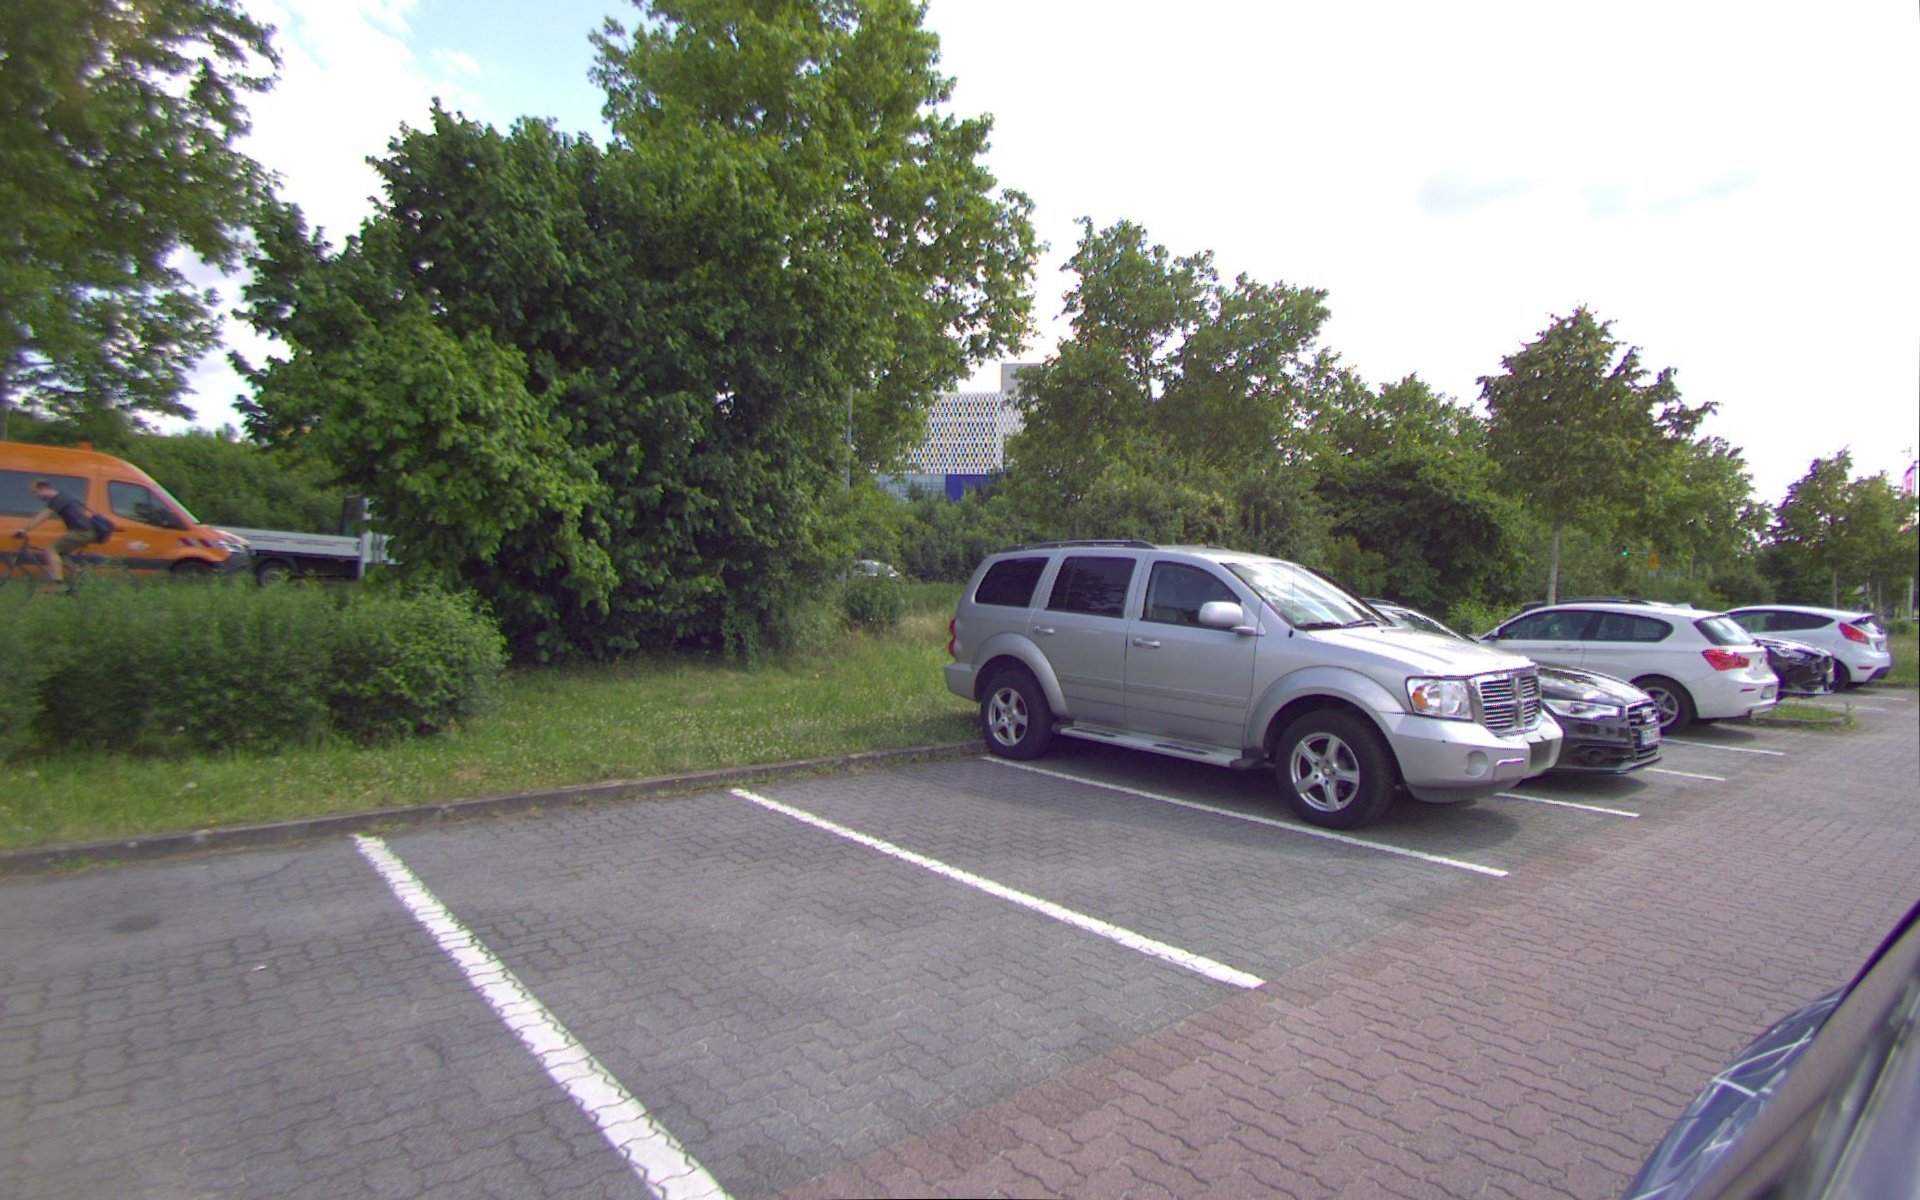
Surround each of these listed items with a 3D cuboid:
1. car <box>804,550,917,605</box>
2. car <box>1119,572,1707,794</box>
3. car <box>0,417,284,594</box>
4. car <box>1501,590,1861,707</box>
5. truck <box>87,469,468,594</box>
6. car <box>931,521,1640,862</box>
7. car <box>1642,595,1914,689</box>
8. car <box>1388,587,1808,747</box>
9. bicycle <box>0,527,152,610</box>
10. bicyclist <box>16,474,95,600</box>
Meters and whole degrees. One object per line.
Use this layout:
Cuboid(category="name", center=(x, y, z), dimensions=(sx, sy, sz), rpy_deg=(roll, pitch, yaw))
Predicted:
Cuboid(category="car", center=(-3.855, -0.856, 39.547), dimensions=(3.929, 2.038, 1.998), rpy_deg=(0, 2, -41))
Cuboid(category="car", center=(3.917, 0.542, 9.532), dimensions=(1.807, 1.469, 4.719), rpy_deg=(1, 2, -41))
Cuboid(category="car", center=(-16.249, -1.598, 17.946), dimensions=(6.868, 2.921, 1.997), rpy_deg=(-2, 1, -41))
Cuboid(category="car", center=(10.985, 0.638, 15.681), dimensions=(1.703, 1.428, 4.238), rpy_deg=(1, 2, -40))
Cuboid(category="truck", center=(-15.049, -1.384, 22.739), dimensions=(6.870, 2.372, 1.997), rpy_deg=(1, 2, -43))
Cuboid(category="car", center=(2.152, 0.401, 8.138), dimensions=(1.955, 1.865, 5.142), rpy_deg=(1, 2, -40))
Cuboid(category="car", center=(14.894, 0.689, 18.583), dimensions=(1.638, 1.429, 3.558), rpy_deg=(1, 2, -36))
Cuboid(category="car", center=(7.706, 0.673, 12.597), dimensions=(1.659, 1.528, 4.081), rpy_deg=(0, 2, -37))
Cuboid(category="bicycle", center=(-11.920, -0.405, 13.448), dimensions=(1.838, 1.051, 0.527), rpy_deg=(0, 0, -41))
Cuboid(category="bicyclist", center=(-11.956, -0.803, 13.399), dimensions=(0.749, 1.612, 0.635), rpy_deg=(0, -1, -40))
